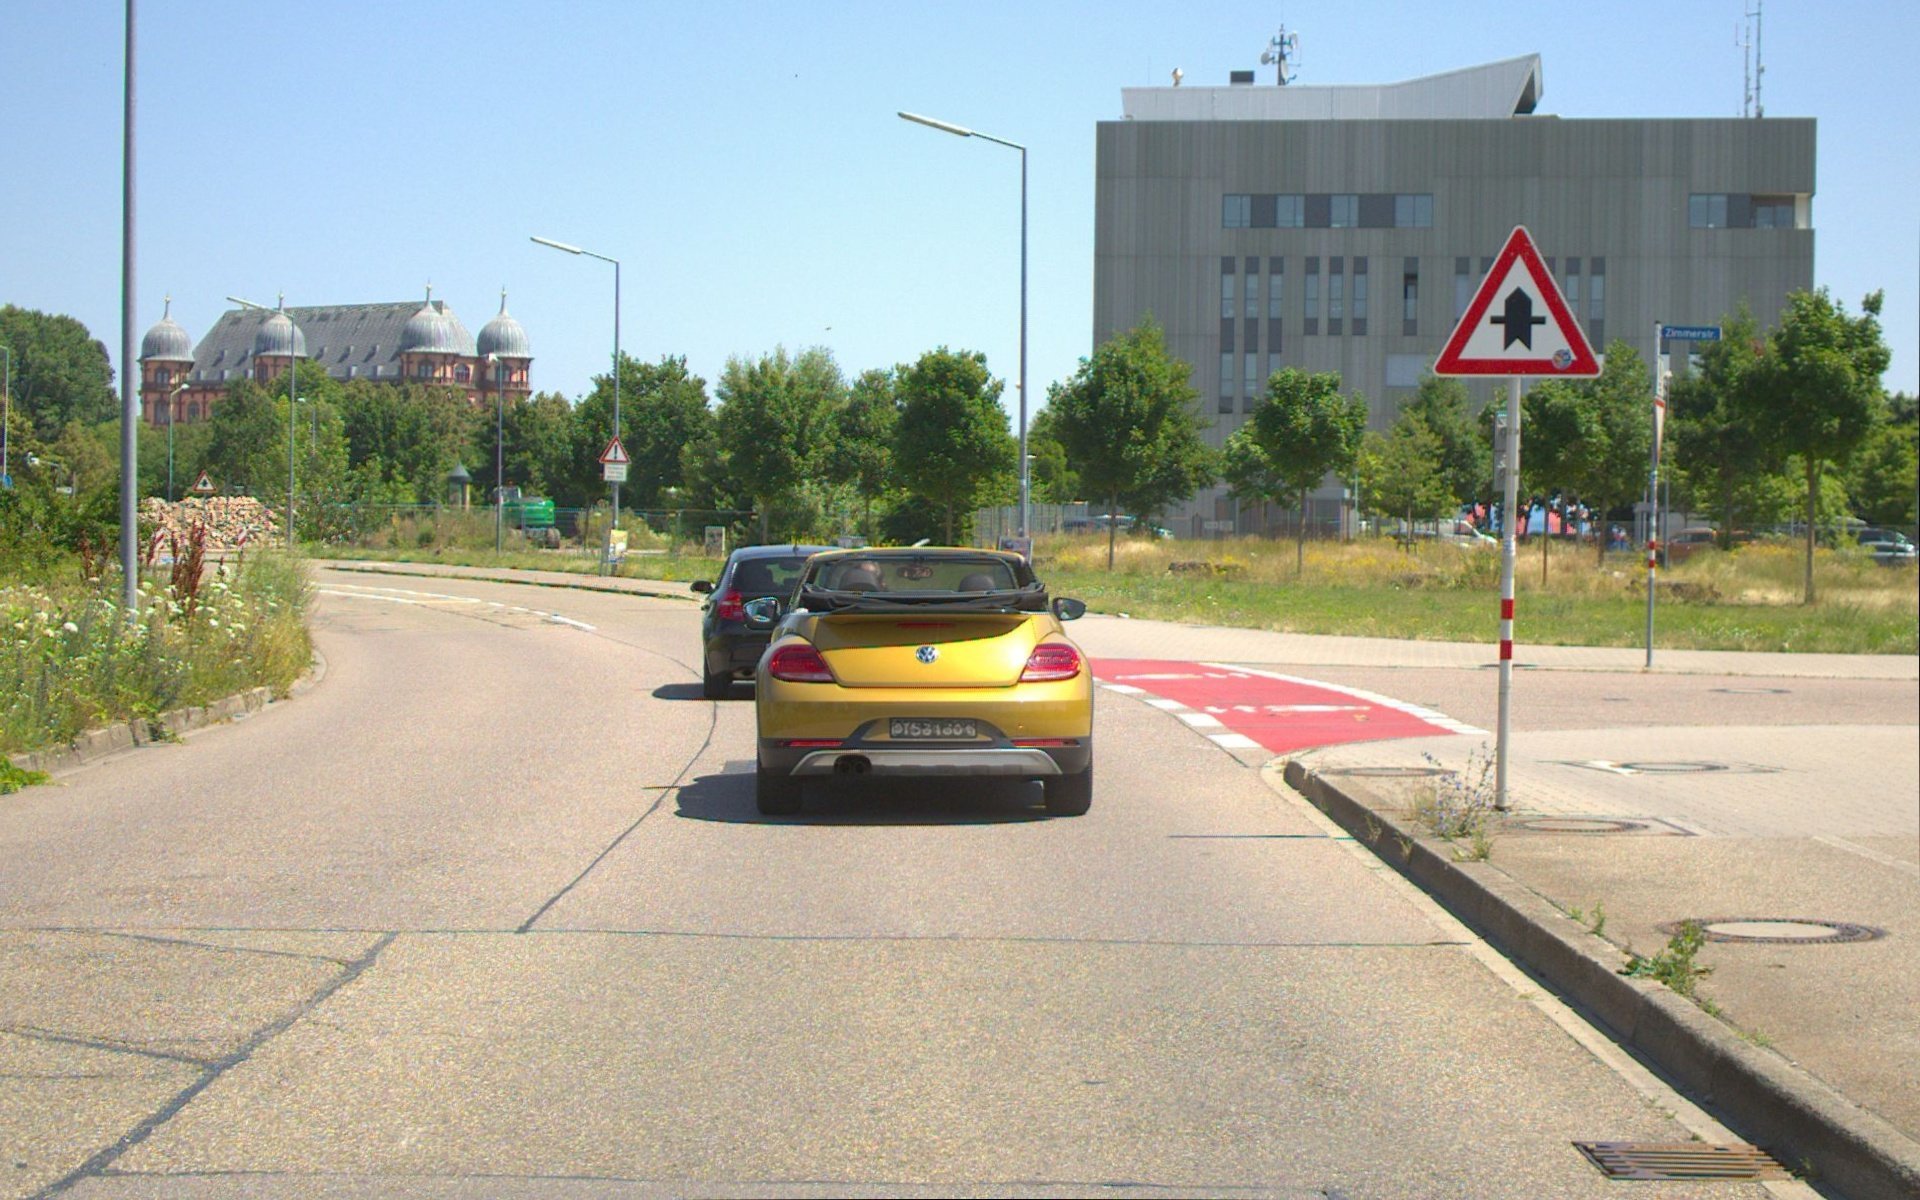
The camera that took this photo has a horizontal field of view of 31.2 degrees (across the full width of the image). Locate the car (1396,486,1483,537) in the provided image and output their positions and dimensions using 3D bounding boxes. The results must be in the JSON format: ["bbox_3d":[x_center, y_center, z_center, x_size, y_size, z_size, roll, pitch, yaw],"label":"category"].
[{"bbox_3d":[22.185,-4.088,158.995,3.844,2.286,1.742,1,1,11],"label":"car"}]

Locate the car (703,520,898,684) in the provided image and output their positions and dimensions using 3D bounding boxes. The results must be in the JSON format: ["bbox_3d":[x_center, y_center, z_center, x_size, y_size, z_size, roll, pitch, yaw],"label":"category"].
[{"bbox_3d":[-1.566,-0.026,32.724,1.726,1.438,4.001,1,2,-4],"label":"car"}]

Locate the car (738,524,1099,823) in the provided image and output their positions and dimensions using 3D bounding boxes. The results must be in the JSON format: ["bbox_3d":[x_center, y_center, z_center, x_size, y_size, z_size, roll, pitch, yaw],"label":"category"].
[{"bbox_3d":[-0.192,0.327,19.115,1.790,1.431,3.814,1,2,1],"label":"car"}]

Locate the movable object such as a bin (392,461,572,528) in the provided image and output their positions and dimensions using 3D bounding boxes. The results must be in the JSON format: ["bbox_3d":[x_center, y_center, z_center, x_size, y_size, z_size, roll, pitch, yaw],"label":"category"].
[{"bbox_3d":[-24.277,-5.341,173.969,4.939,3.249,10.469,0,2,-33],"label":"movable object such as a bin"}]
